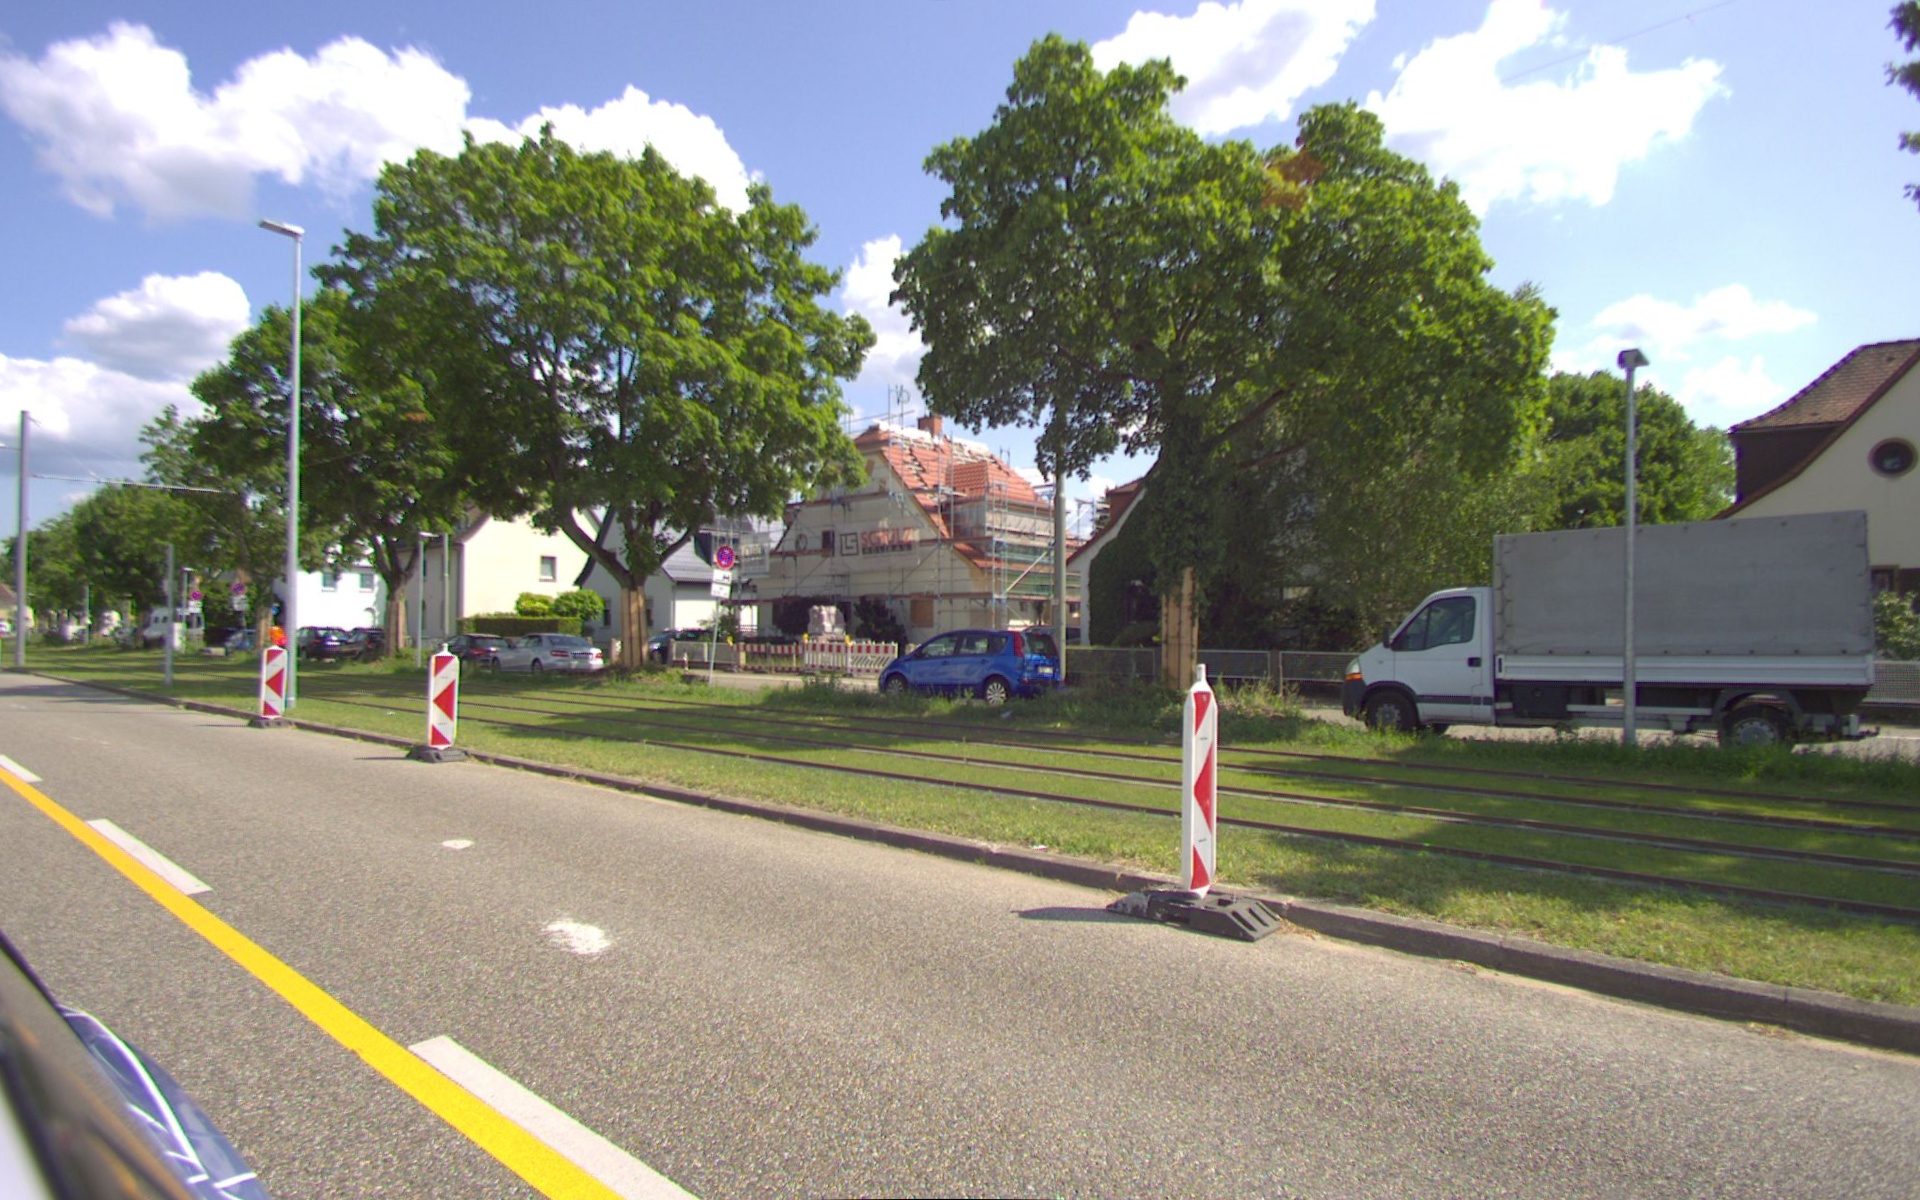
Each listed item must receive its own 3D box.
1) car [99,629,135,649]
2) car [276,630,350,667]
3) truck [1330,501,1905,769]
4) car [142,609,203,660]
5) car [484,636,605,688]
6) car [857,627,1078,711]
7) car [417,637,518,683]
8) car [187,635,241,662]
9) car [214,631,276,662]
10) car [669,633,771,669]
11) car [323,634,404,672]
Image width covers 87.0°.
[{"bbox_3d":[-69.106,3.220,82.919,4.404,1.497,1.679,-4,-3,42],"label":"car"},{"bbox_3d":[-29.493,2.233,46.074,4.403,1.584,1.680,-3,-3,41],"label":"car"},{"bbox_3d":[8.301,0.458,13.404,5.971,2.802,2.242,-2,-3,41],"label":"truck"},{"bbox_3d":[-49.572,2.175,63.655,5.080,3.061,2.108,-3,-3,41],"label":"car"},{"bbox_3d":[-13.139,1.939,31.857,4.520,1.497,1.765,-4,-3,42],"label":"car"},{"bbox_3d":[0.061,1.356,20.273,4.403,1.497,1.680,-3,-3,41],"label":"car"},{"bbox_3d":[-17.519,2.126,35.893,4.403,1.497,1.680,-3,-3,41],"label":"car"},{"bbox_3d":[-44.476,2.885,60.329,4.403,1.497,1.680,-3,-3,41],"label":"car"},{"bbox_3d":[-37.493,2.437,53.049,4.403,1.497,1.680,-3,-3,41],"label":"car"},{"bbox_3d":[-10.925,2.300,46.211,1.702,1.497,4.345,-3,-3,41],"label":"car"},{"bbox_3d":[-25.178,2.261,42.651,4.403,1.497,1.680,-3,-3,41],"label":"car"}]
